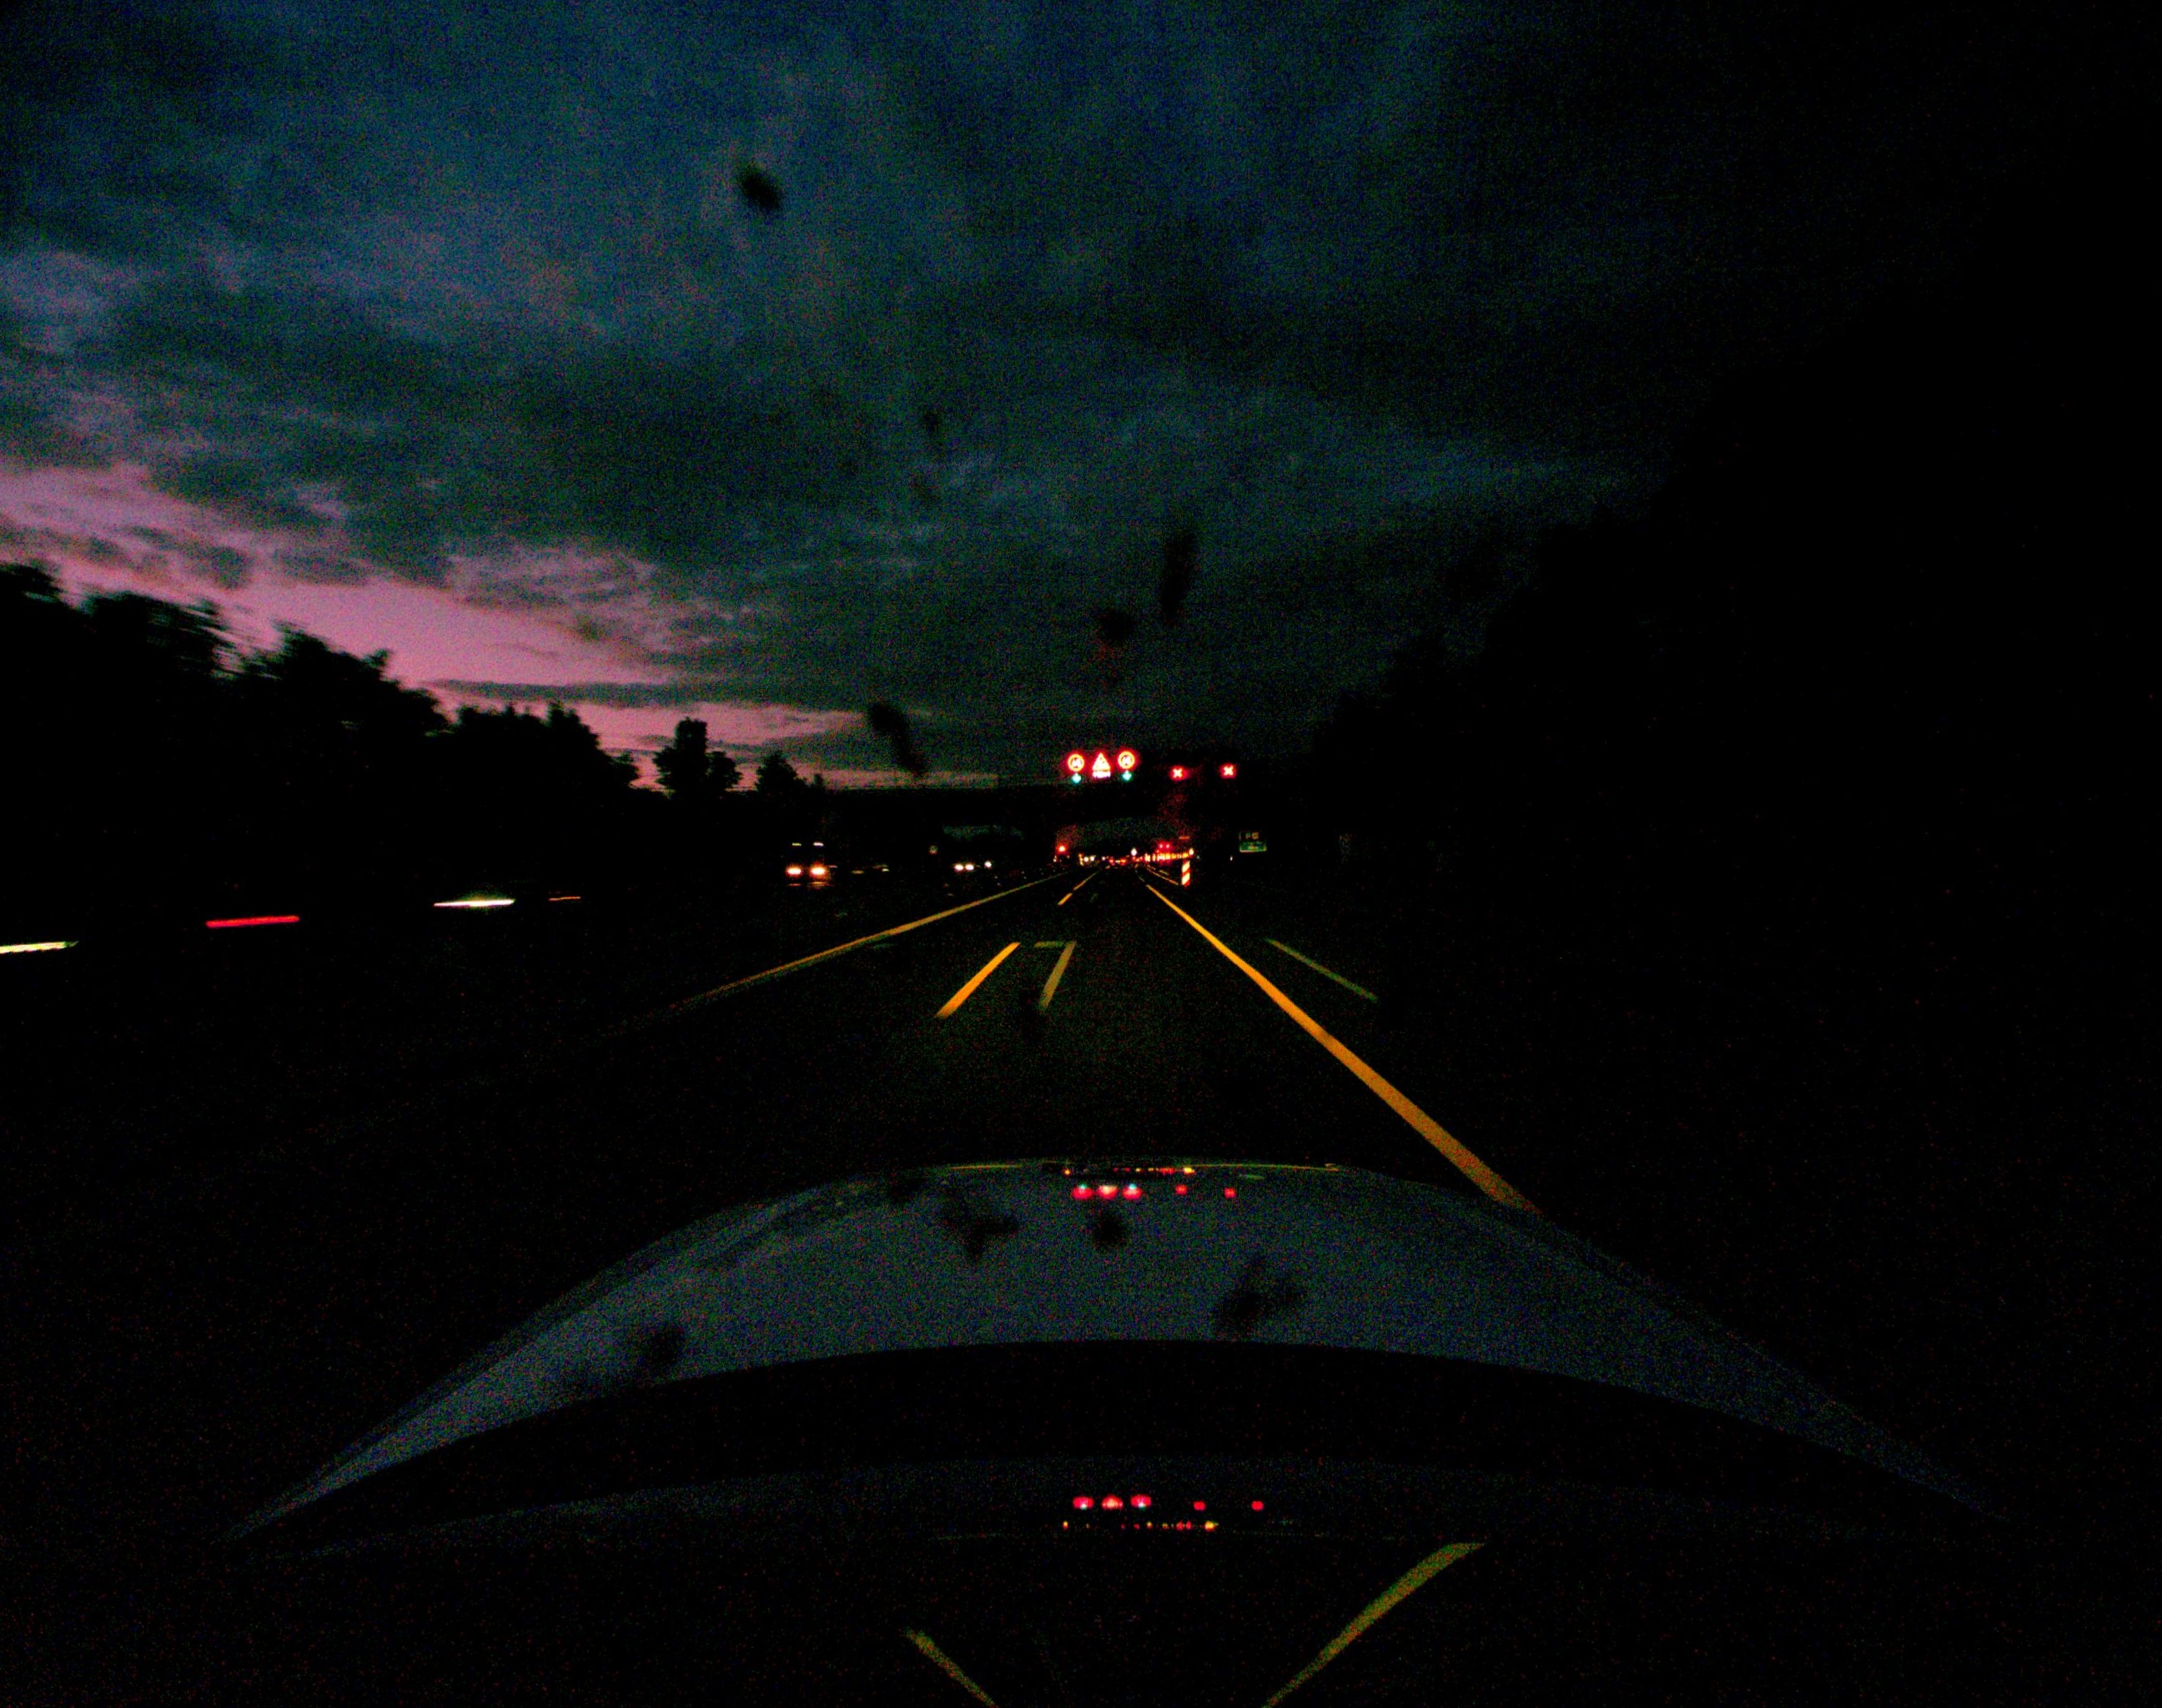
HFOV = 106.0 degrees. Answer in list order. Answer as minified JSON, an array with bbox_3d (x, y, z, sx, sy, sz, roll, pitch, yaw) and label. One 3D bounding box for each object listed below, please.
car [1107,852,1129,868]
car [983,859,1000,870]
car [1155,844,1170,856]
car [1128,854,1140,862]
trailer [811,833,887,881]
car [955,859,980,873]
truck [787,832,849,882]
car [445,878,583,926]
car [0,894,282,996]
[{"bbox_3d":[4.016,0.658,88.977,2.258,1.621,3.999,0,0,0],"label":"car"},{"bbox_3d":[-13.916,1.594,126.821,1.985,1.674,4.585,0,0,3],"label":"car"},{"bbox_3d":[23.415,-1.154,233.848,3.591,3.395,8.017,0,0,2],"label":"car"},{"bbox_3d":[9.779,0.671,149.507,1.962,1.437,4.006,0,0,6],"label":"car"},{"bbox_3d":[-21.913,0.322,77.854,2.766,4.206,12.417,0,0,5],"label":"trailer"},{"bbox_3d":[-13.681,1.472,98.542,1.984,1.675,4.521,0,0,5],"label":"car"},{"bbox_3d":[-22.540,0.271,70.217,2.764,4.171,6.394,0,0,5],"label":"truck"},{"bbox_3d":[-22.161,1.825,32.119,1.584,1.604,5.040,0,0,4],"label":"car"},{"bbox_3d":[-20.415,1.784,17.366,1.729,1.638,4.895,0,0,3],"label":"car"}]
